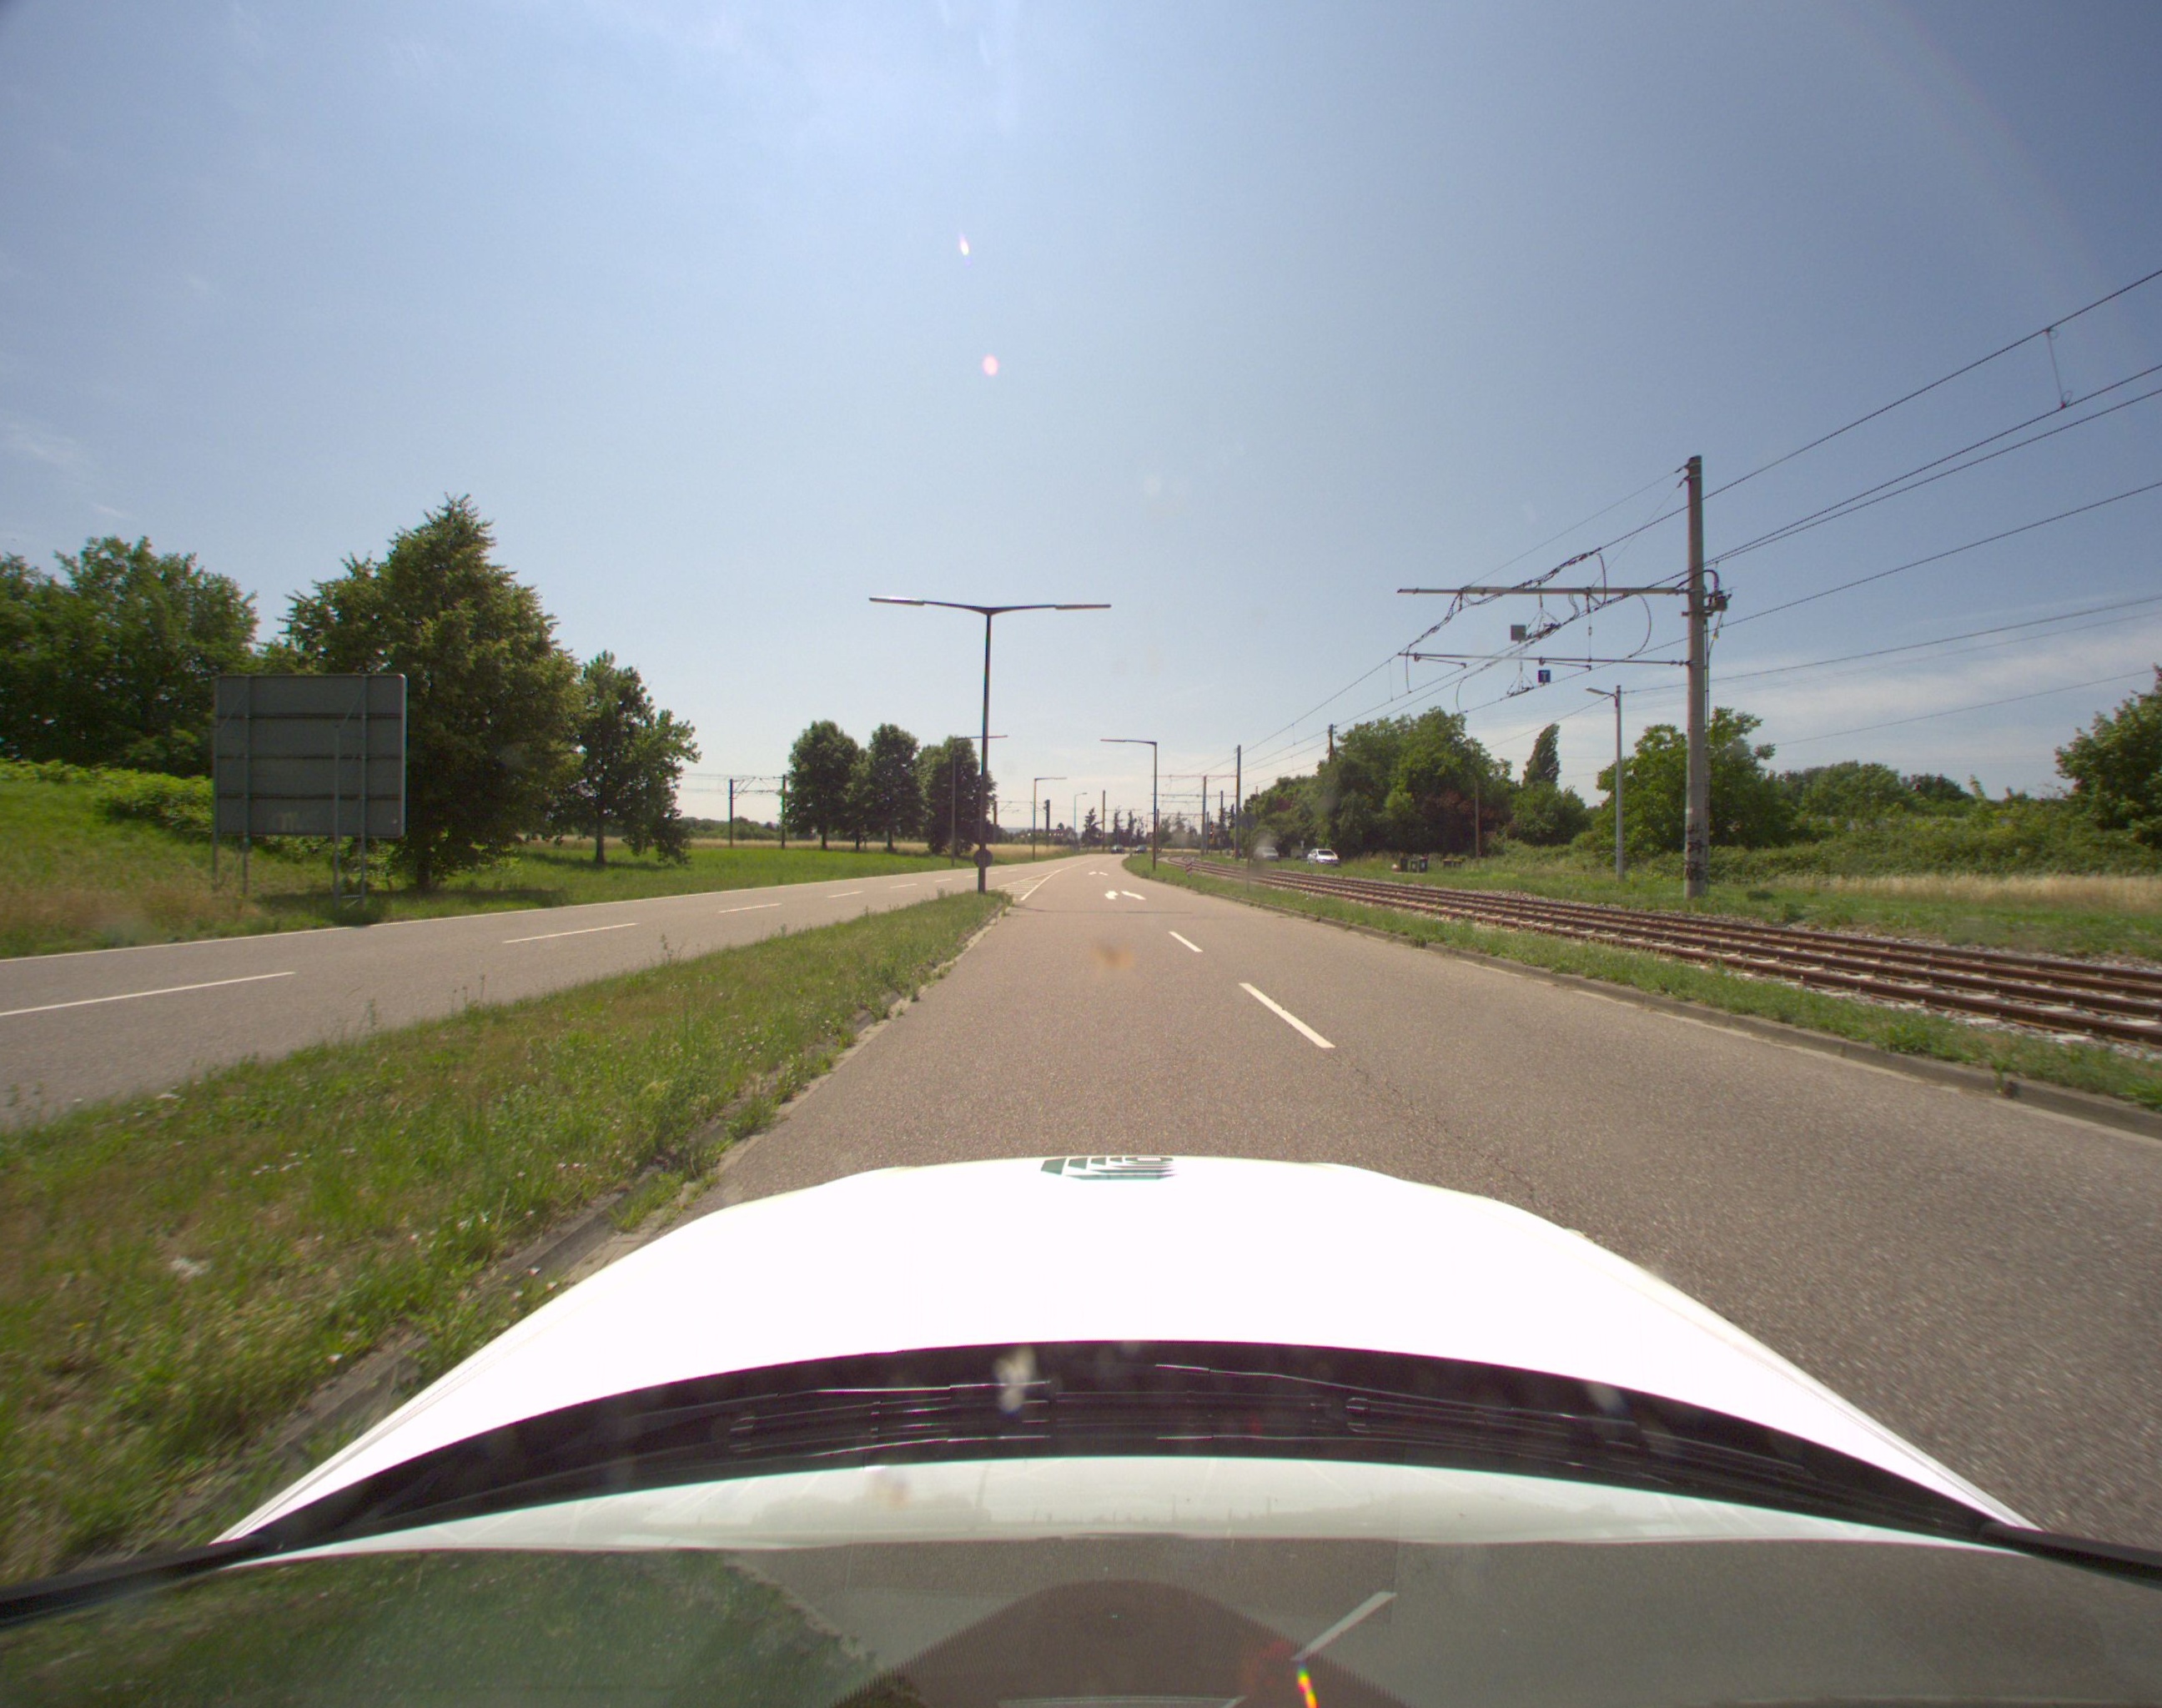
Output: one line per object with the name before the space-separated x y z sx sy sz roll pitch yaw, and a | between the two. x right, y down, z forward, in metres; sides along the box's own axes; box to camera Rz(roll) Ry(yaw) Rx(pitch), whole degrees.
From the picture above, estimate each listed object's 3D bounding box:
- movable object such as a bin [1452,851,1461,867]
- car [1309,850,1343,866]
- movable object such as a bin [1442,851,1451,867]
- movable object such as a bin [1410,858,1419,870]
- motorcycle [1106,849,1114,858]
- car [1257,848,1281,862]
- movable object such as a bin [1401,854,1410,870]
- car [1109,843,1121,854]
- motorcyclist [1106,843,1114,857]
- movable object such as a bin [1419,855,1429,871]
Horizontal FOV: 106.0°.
movable object such as a bin | 25.183 0.323 54.581 0.445 1.050 0.501 0 0 12
car | 18.756 0.327 62.437 1.558 1.179 3.078 0 0 -2
movable object such as a bin | 24.576 0.339 54.757 0.445 1.050 0.501 0 0 12
movable object such as a bin | 22.666 0.677 55.326 0.521 0.864 0.501 0 0 12
motorcycle | 5.030 -0.064 141.836 0.984 1.580 3.408 2 0 8
car | 19.855 0.066 85.968 1.666 1.397 3.650 2 0 1
movable object such as a bin | 22.092 0.554 55.448 0.521 1.050 0.501 0 0 12
car | 5.579 -0.856 132.272 1.395 1.771 3.264 2 0 11
motorcyclist | 5.090 -0.640 142.119 1.224 2.351 1.109 2 0 7
movable object such as a bin | 23.216 0.600 55.166 0.521 1.050 0.501 0 0 12
